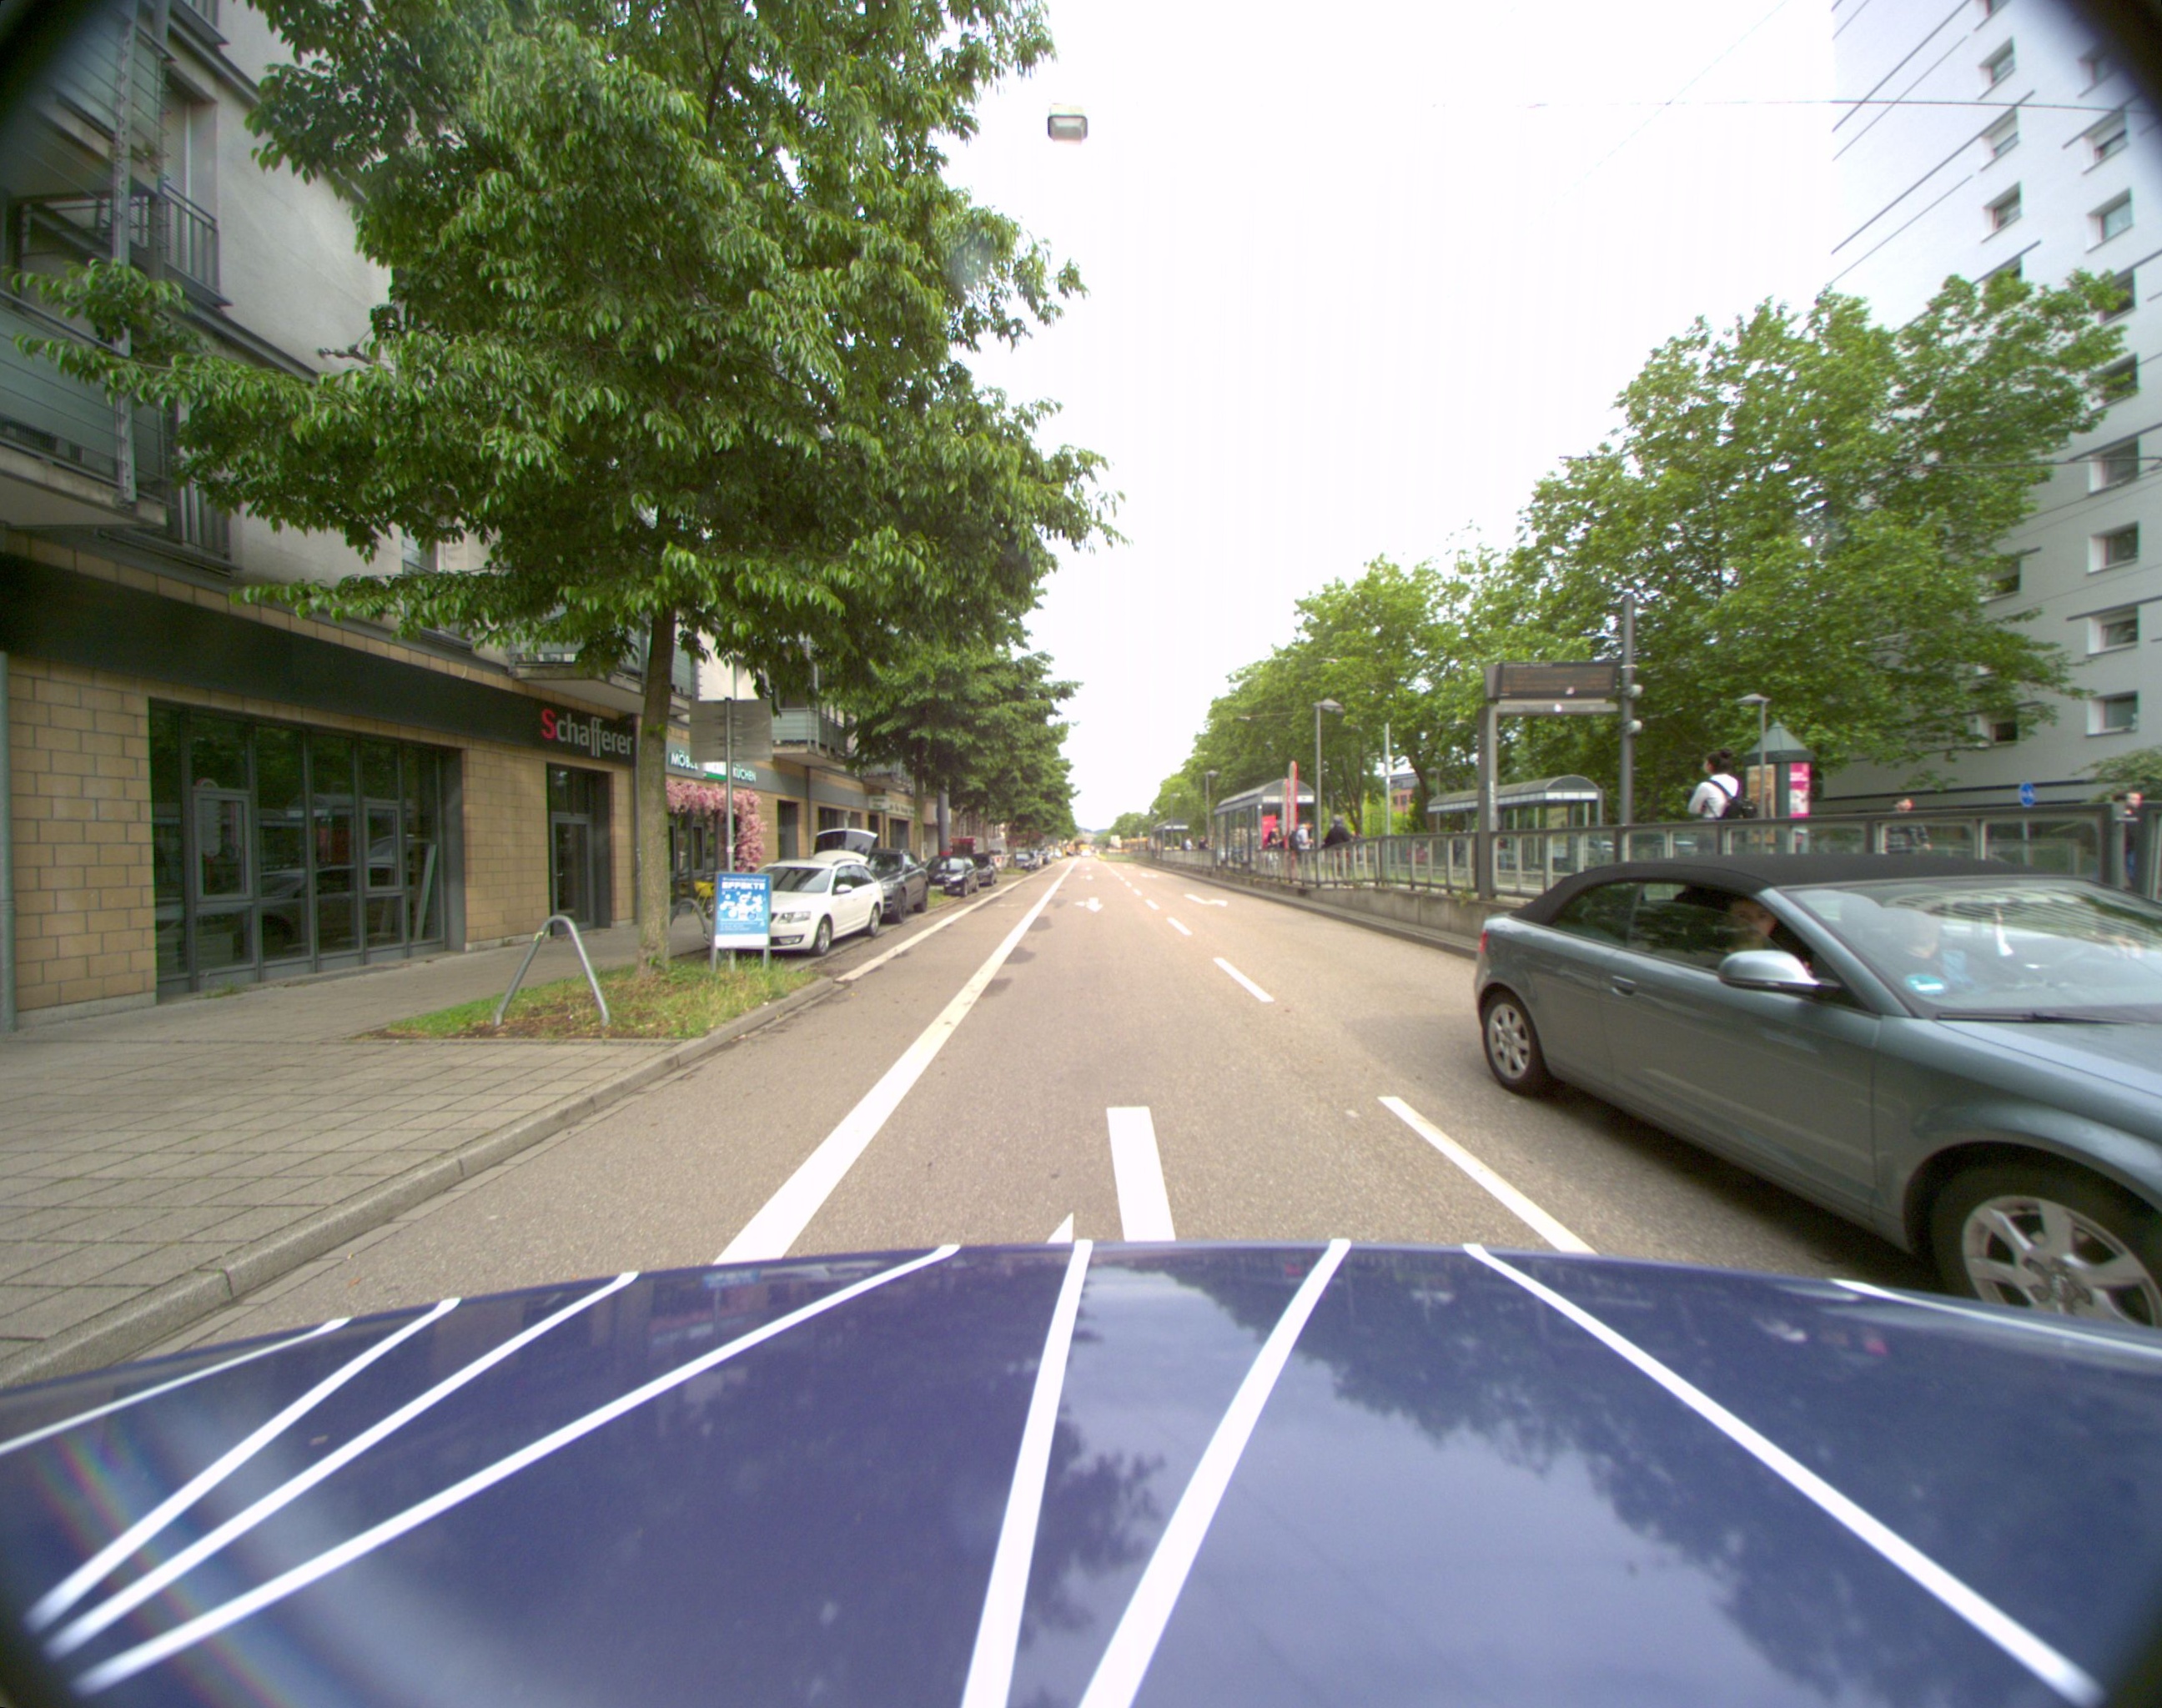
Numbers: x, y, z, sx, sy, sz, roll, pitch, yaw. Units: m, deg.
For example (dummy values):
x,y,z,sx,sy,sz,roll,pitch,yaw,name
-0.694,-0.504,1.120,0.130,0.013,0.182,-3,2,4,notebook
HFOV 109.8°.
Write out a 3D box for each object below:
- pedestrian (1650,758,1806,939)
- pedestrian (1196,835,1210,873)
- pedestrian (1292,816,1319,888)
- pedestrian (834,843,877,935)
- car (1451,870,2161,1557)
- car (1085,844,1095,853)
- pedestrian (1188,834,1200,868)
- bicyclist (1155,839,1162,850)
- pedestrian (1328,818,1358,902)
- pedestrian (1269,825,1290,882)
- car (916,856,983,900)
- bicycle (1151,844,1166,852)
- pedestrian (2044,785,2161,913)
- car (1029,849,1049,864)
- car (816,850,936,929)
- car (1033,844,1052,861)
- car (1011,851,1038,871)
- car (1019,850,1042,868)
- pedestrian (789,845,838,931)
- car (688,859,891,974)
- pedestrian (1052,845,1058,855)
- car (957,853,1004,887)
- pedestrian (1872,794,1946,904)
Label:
x,y,z,sx,sy,sz,roll,pitch,yaw,name
6.397,-0.053,7.573,0.720,1.661,0.979,-2,1,3,pedestrian
5.860,0.004,36.544,0.530,1.794,0.606,-2,1,14,pedestrian
5.757,-0.059,19.503,0.475,1.794,0.605,-2,1,5,pedestrian
-4.668,0.713,15.751,0.656,1.873,0.599,-1,1,1,pedestrian
3.289,0.852,2.948,1.716,1.379,4.099,-2,1,1,car
1.900,-1.200,163.012,1.998,2.002,4.198,-2,1,2,car
6.153,-0.173,41.360,0.530,1.794,0.606,-2,1,14,pedestrian
10.054,-1.228,98.934,0.812,1.458,0.726,-3,1,-1,bicyclist
5.715,0.124,16.600,0.521,1.794,0.605,-2,1,13,pedestrian
6.323,-0.023,24.219,0.474,1.794,0.606,-2,1,26,pedestrian
-4.626,0.797,27.298,1.612,1.369,4.167,2,1,1,car
10.088,-0.801,98.928,1.781,0.925,0.491,-2,1,-1,bicycle
15.257,-0.075,11.344,0.882,1.823,0.666,-2,1,1,pedestrian
-3.951,0.213,72.473,1.612,1.393,3.667,2,1,1,car
-4.706,0.744,18.026,1.738,1.601,3.798,2,1,1,car
-3.944,-0.136,78.243,1.612,1.674,3.806,2,1,1,car
-4.149,0.483,56.257,1.612,1.393,3.667,2,1,1,car
-4.108,0.368,62.186,1.612,1.393,3.667,2,1,1,car
-5.486,0.676,15.614,0.737,1.707,0.618,1,1,8,pedestrian
-4.711,0.903,13.023,1.738,1.512,4.308,2,1,1,car
-5.609,-0.867,164.073,1.216,2.002,1.143,-1,1,1,pedestrian
-4.545,0.687,34.759,1.612,1.393,3.667,2,1,1,car
15.037,-0.090,13.809,0.699,1.919,0.554,-2,1,1,pedestrian
